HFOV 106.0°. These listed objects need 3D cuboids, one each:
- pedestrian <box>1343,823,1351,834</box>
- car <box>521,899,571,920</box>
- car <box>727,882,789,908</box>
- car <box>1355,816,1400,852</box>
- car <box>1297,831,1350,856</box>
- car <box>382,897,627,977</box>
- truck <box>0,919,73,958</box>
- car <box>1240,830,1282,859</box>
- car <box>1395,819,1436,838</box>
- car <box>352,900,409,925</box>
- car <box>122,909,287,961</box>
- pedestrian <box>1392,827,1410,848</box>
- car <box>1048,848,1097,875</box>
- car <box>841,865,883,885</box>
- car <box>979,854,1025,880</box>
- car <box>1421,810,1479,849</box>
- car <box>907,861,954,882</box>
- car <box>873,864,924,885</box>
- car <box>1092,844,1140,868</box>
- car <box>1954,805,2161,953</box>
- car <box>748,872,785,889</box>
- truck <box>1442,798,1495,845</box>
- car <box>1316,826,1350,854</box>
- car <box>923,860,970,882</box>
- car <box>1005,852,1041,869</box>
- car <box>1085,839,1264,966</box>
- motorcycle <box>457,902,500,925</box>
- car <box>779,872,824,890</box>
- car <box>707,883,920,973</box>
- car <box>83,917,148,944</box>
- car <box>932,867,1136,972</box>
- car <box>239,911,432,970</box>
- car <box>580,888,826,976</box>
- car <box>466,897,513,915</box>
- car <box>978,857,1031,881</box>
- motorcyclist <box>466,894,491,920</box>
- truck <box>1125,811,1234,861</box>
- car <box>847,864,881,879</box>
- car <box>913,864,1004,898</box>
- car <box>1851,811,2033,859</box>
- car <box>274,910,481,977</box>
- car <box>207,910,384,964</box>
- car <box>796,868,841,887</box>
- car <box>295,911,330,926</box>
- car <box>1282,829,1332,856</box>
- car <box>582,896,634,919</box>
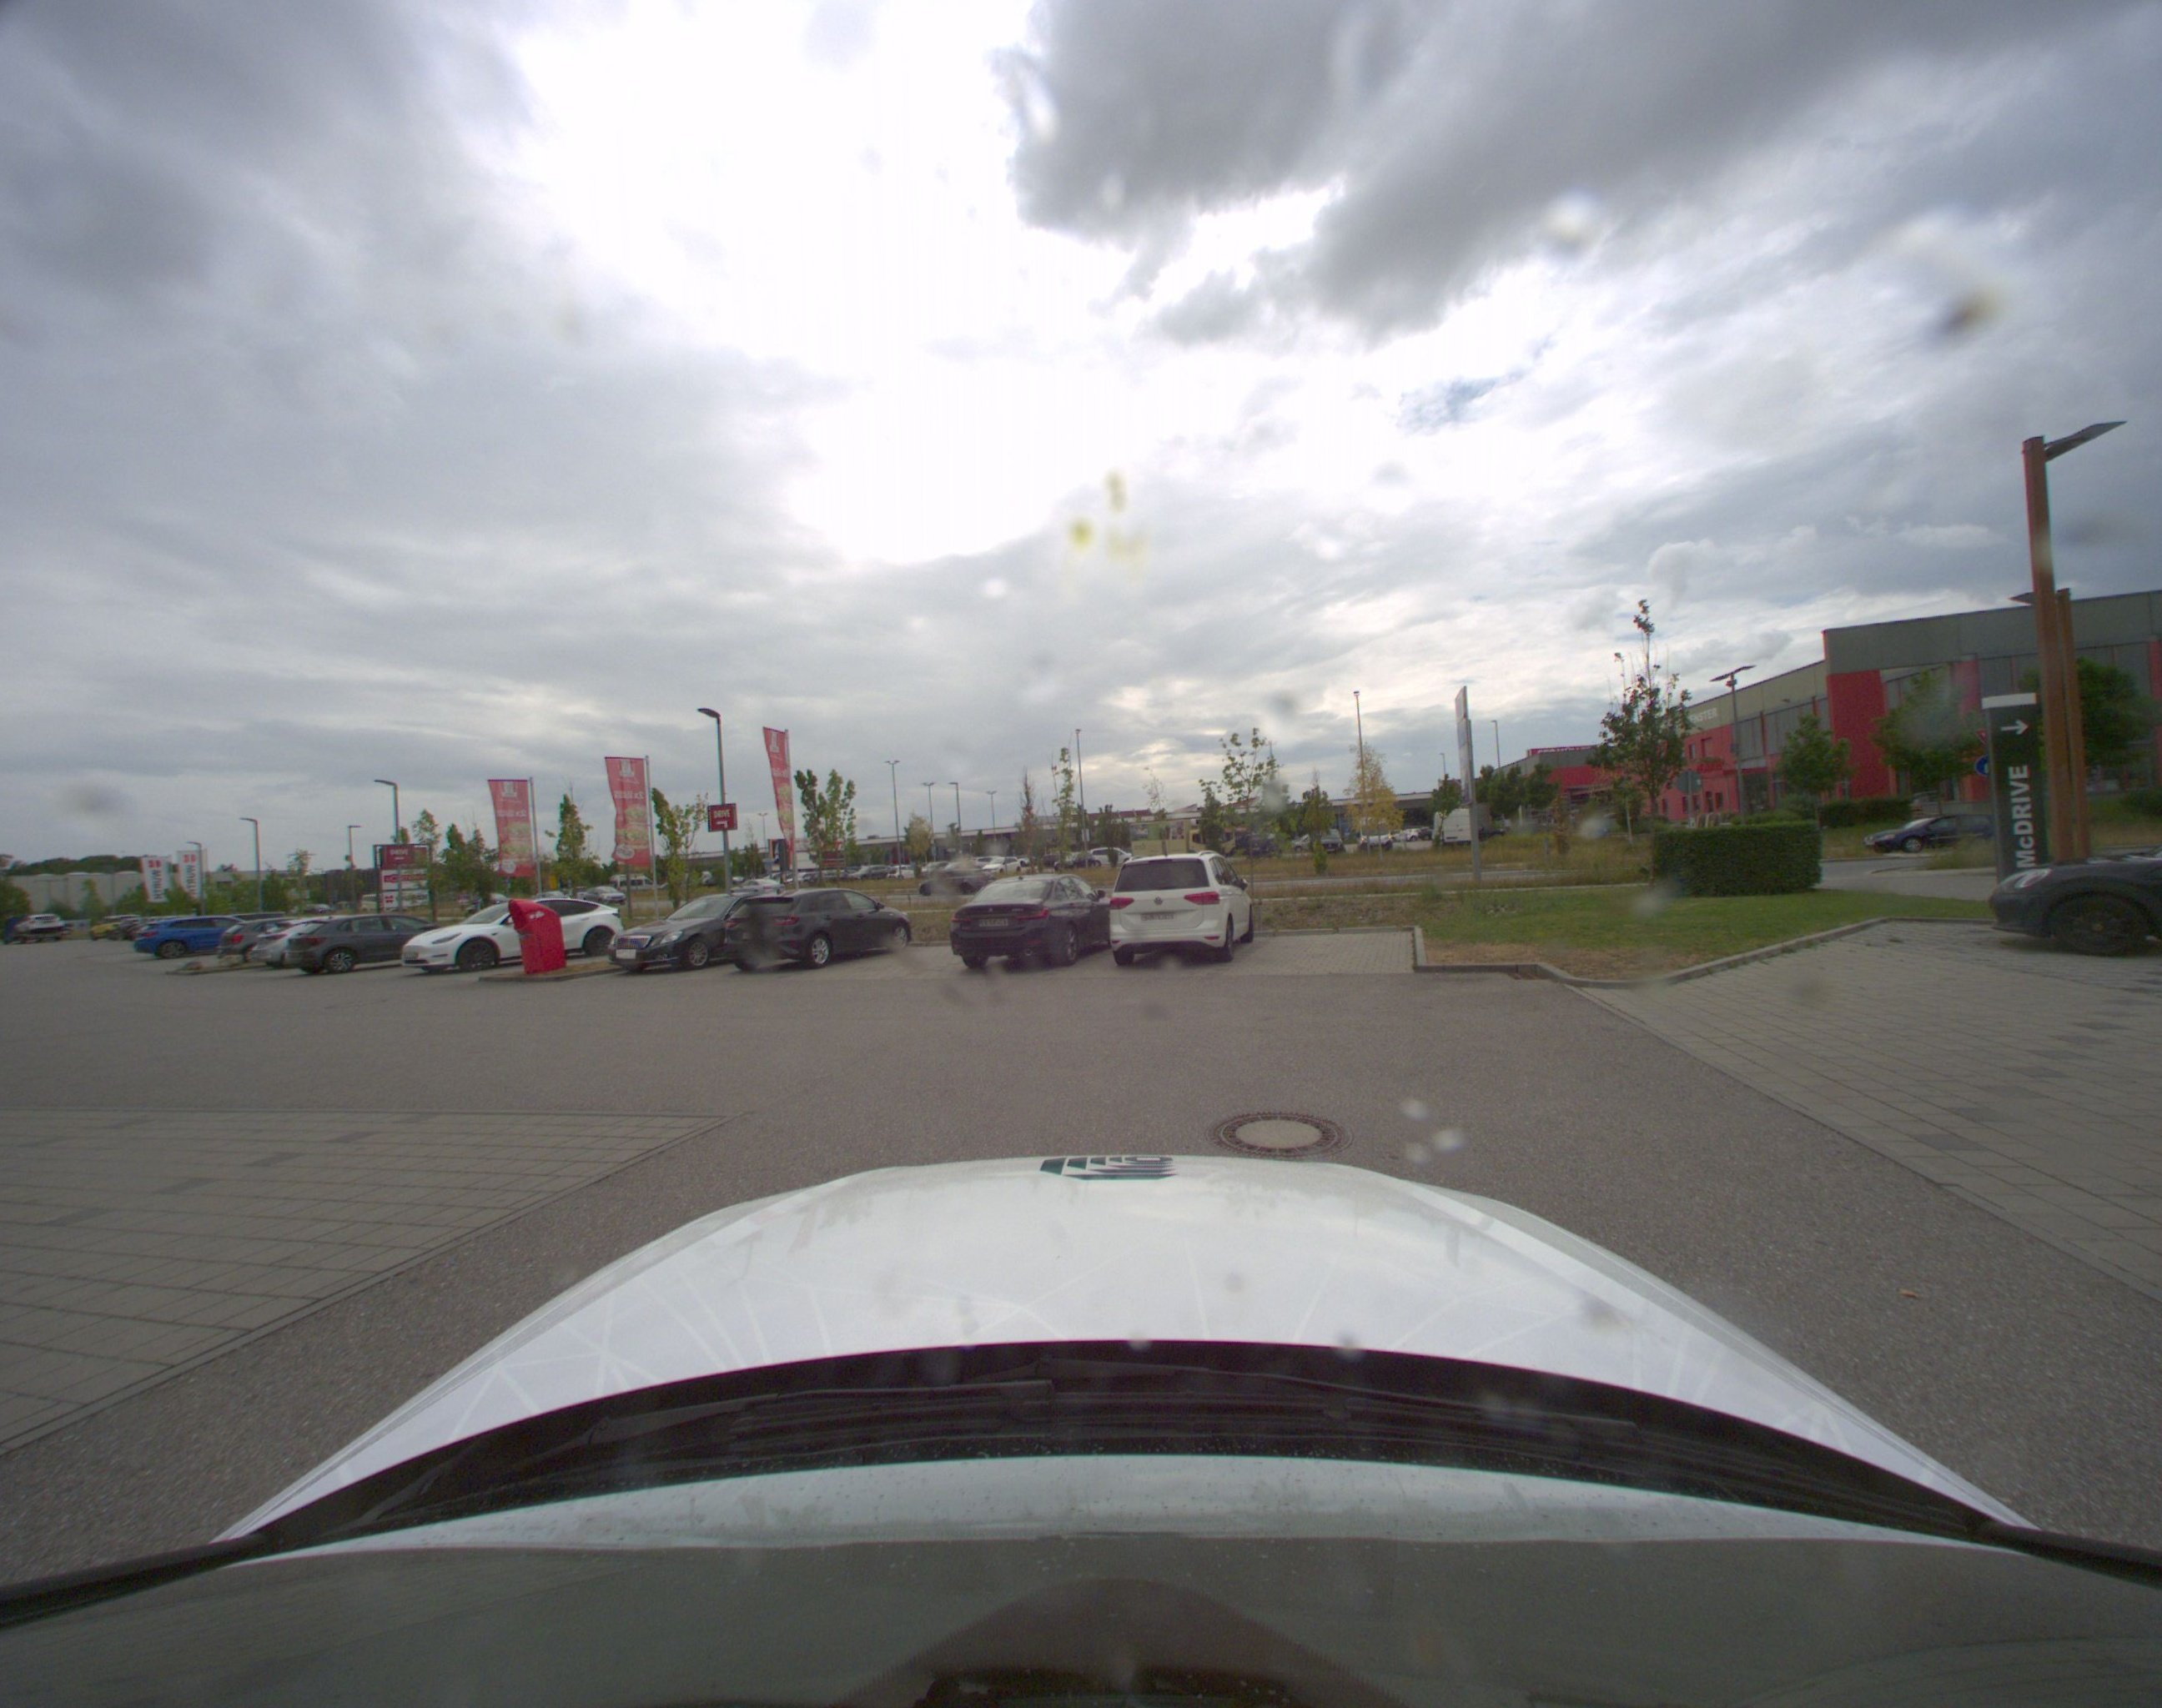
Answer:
[{"bbox_3d":[36.918,-3.526,112.930,0.653,1.429,0.793,-5,1,-21],"label":"pedestrian"},{"bbox_3d":[-44.237,4.615,67.353,4.229,1.499,1.869,-4,0,34],"label":"car"},{"bbox_3d":[-22.326,2.833,56.192,4.792,1.551,1.814,-4,1,41],"label":"car"},{"bbox_3d":[20.184,-1.417,55.687,2.389,2.214,6.087,-3,1,17],"label":"car"},{"bbox_3d":[19.998,-0.897,67.230,3.956,1.738,1.899,-4,1,16],"label":"car"},{"bbox_3d":[-14.055,1.964,20.209,1.902,1.541,4.572,-4,-2,25],"label":"car"},{"bbox_3d":[-83.710,6.775,65.001,7.797,2.406,2.353,-7,-3,26],"label":"truck"},{"bbox_3d":[13.015,-0.734,58.667,2.053,1.884,5.098,-4,0,22],"label":"car"},{"bbox_3d":[37.200,-2.851,90.639,3.954,1.837,2.010,-4,1,19],"label":"car"},{"bbox_3d":[-66.480,5.555,77.256,5.166,2.086,2.012,-3,0,24],"label":"car"},{"bbox_3d":[-34.848,3.178,32.483,1.840,1.544,4.243,-4,0,35],"label":"car"},{"bbox_3d":[22.498,-1.155,57.236,0.968,1.429,0.790,-4,1,12],"label":"pedestrian"},{"bbox_3d":[-0.646,0.546,64.797,1.906,1.771,4.349,-4,1,29],"label":"car"},{"bbox_3d":[-21.197,2.008,78.954,1.750,1.539,3.787,-4,1,27],"label":"car"},{"bbox_3d":[-6.659,1.088,68.875,1.976,1.771,4.345,-4,1,22],"label":"car"},{"bbox_3d":[24.494,-1.688,54.326,2.321,2.267,6.533,-4,1,15],"label":"car"},{"bbox_3d":[-13.460,1.565,73.052,1.749,1.539,4.081,-4,1,29],"label":"car"},{"bbox_3d":[-16.933,1.858,75.724,1.974,1.539,4.188,-4,1,39],"label":"car"},{"bbox_3d":[3.029,0.148,70.388,3.969,1.771,2.003,-4,1,4],"label":"car"},{"bbox_3d":[11.380,0.191,7.815,1.695,1.412,3.887,-3,0,-36],"label":"car"},{"bbox_3d":[-42.497,3.567,110.077,4.142,1.837,2.008,-4,1,14],"label":"car"},{"bbox_3d":[34.625,-2.909,73.091,2.628,3.742,8.292,-4,1,16],"label":"truck"},{"bbox_3d":[17.387,-1.014,56.337,2.055,1.638,5.093,-3,1,17],"label":"car"},{"bbox_3d":[-11.747,1.460,71.455,1.749,1.539,4.081,-4,1,29],"label":"car"},{"bbox_3d":[-7.671,0.841,107.166,4.138,1.837,2.010,-4,1,19],"label":"car"},{"bbox_3d":[1.745,0.705,13.528,1.969,1.713,4.393,-4,-1,19],"label":"car"},{"bbox_3d":[-37.136,3.684,50.216,0.784,1.208,1.934,-4,0,33],"label":"motorcycle"},{"bbox_3d":[-29.092,2.797,84.834,1.841,1.501,4.100,-4,1,30],"label":"car"},{"bbox_3d":[-5.092,1.371,16.145,1.867,1.412,4.090,-4,-2,19],"label":"car"},{"bbox_3d":[-69.022,5.446,58.228,3.951,1.650,1.873,-4,-2,23],"label":"car"},{"bbox_3d":[-0.591,1.027,14.222,1.925,1.466,4.537,-4,-2,19],"label":"car"},{"bbox_3d":[-22.678,2.588,24.925,1.816,1.412,3.964,-4,-2,31],"label":"car"},{"bbox_3d":[-7.797,1.561,17.406,1.889,1.456,4.766,-4,-2,20],"label":"car"},{"bbox_3d":[-52.326,4.606,72.080,4.164,1.394,1.780,-4,0,30],"label":"car"},{"bbox_3d":[-6.965,1.384,74.174,4.267,1.771,1.933,-4,1,26],"label":"car"},{"bbox_3d":[-37.125,3.266,50.203,0.820,1.488,0.947,-4,0,33],"label":"motorcyclist"},{"bbox_3d":[7.240,-1.248,61.197,3.043,3.195,8.339,-5,1,-35],"label":"truck"},{"bbox_3d":[-30.909,2.521,115.819,4.137,1.837,2.011,-4,1,20],"label":"car"},{"bbox_3d":[-6.986,1.521,46.215,4.794,1.551,1.813,-4,1,25],"label":"car"},{"bbox_3d":[33.076,-0.726,31.471,4.367,1.486,1.941,-4,1,23],"label":"car"},{"bbox_3d":[-18.799,2.350,21.957,1.716,1.412,3.831,-4,-2,27],"label":"car"},{"bbox_3d":[-26.569,2.760,27.673,1.705,1.428,4.026,-4,-2,33],"label":"car"},{"bbox_3d":[-26.594,2.379,82.614,1.975,1.539,4.080,-4,1,26],"label":"car"},{"bbox_3d":[-77.600,6.525,82.244,3.124,1.336,1.475,-4,0,25],"label":"car"},{"bbox_3d":[19.843,-1.036,71.735,3.963,2.013,2.006,-4,1,9],"label":"car"},{"bbox_3d":[-35.723,4.056,61.494,3.948,1.459,1.842,-4,1,36],"label":"car"}]
